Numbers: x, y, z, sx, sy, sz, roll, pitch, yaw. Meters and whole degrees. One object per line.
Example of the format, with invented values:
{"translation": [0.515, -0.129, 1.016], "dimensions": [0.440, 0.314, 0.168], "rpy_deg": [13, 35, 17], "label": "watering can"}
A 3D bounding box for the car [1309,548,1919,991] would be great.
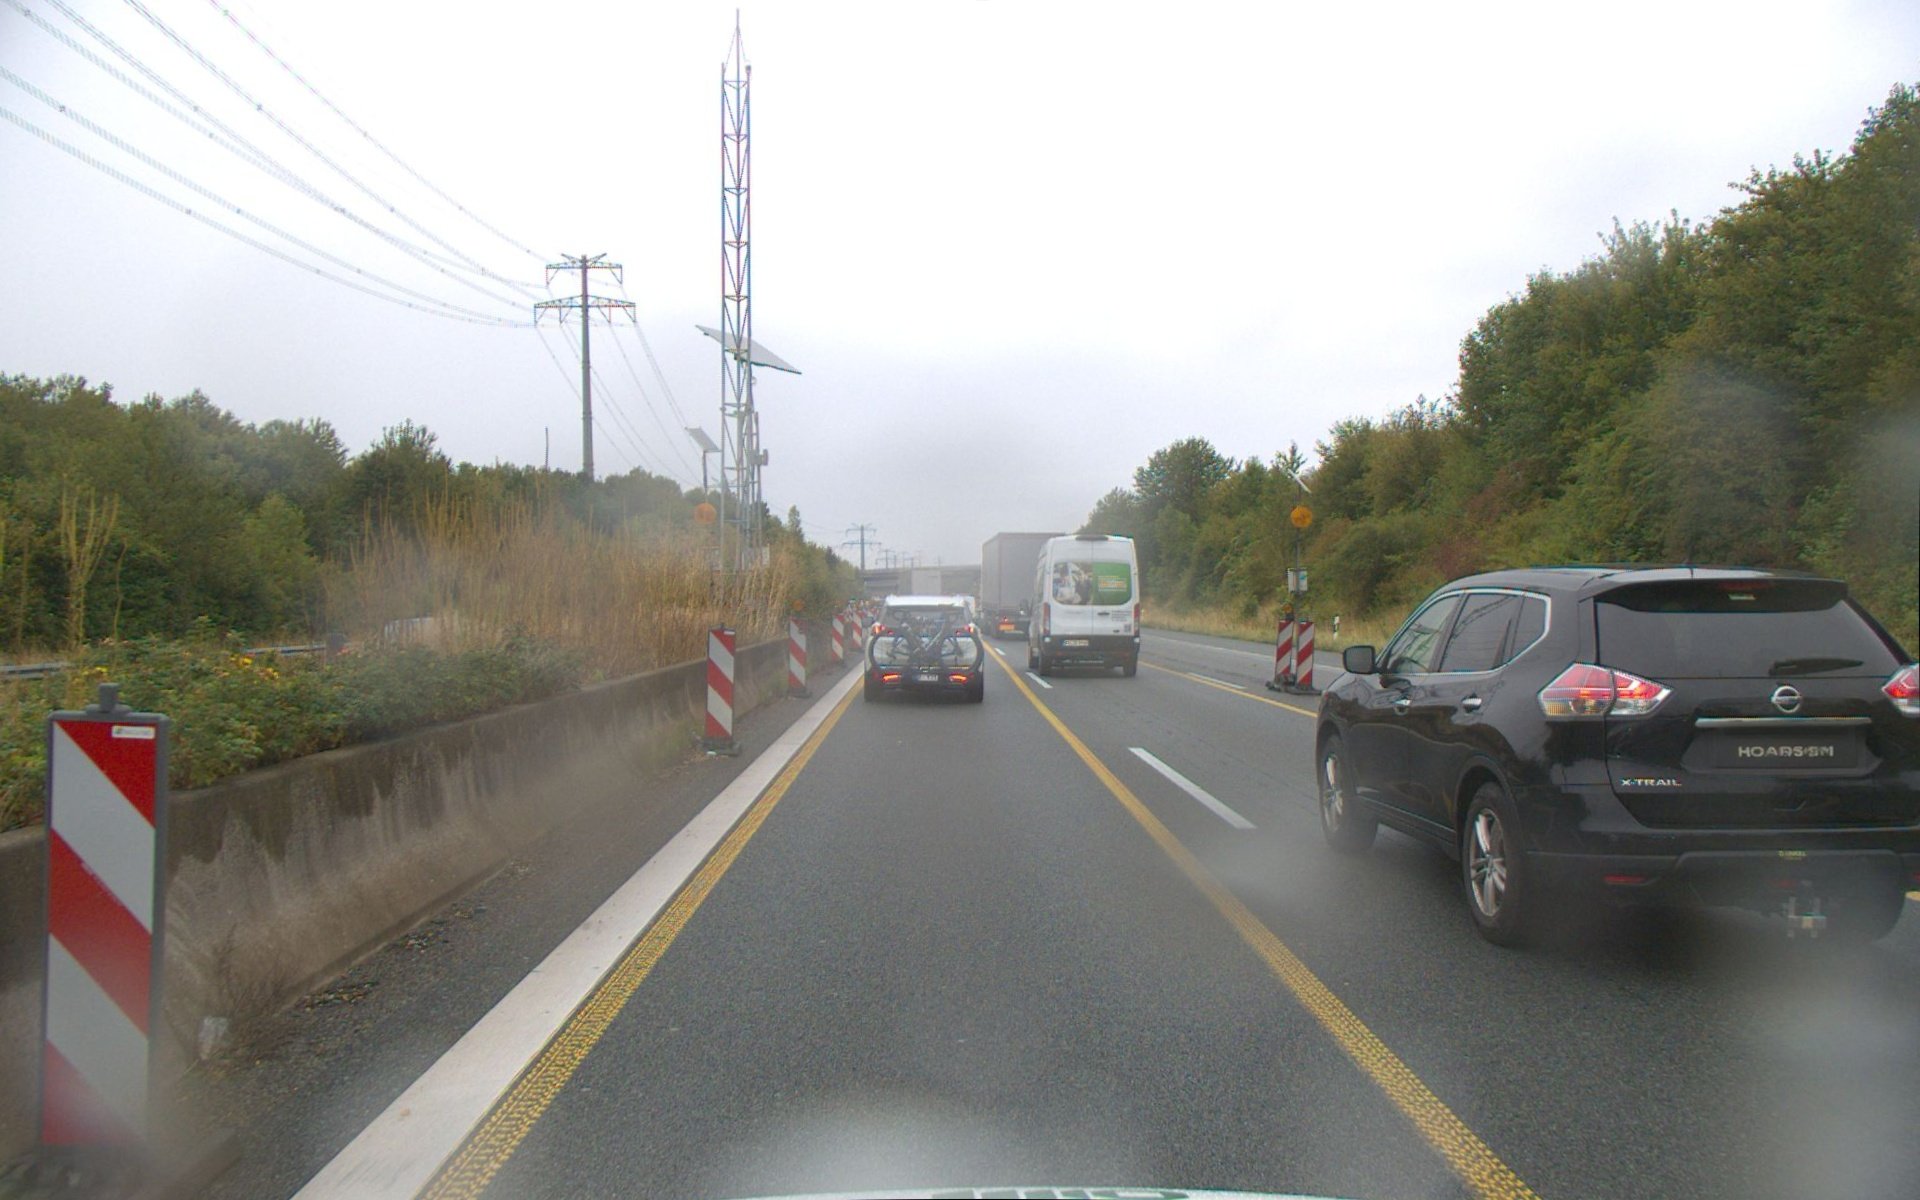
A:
{"translation": [3.153, 0.642, 8.484], "dimensions": [1.651, 1.688, 4.278], "rpy_deg": [0, 0, -3], "label": "car"}

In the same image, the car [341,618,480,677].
{"translation": [-12.000, 1.008, 36.362], "dimensions": [1.697, 1.206, 4.159], "rpy_deg": [1, 0, -1], "label": "car"}

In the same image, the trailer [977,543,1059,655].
{"translation": [2.245, -0.046, 68.819], "dimensions": [2.651, 4.219, 13.728], "rpy_deg": [0, 0, -1], "label": "trailer"}

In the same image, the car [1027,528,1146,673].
{"translation": [2.592, 0.001, 35.262], "dimensions": [1.953, 2.831, 5.754], "rpy_deg": [0, 0, -1], "label": "car"}

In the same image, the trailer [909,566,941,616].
{"translation": [-3.032, -0.752, 142.226], "dimensions": [2.638, 4.148, 13.629], "rpy_deg": [0, 0, -1], "label": "trailer"}

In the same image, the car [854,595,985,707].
{"translation": [-0.619, 0.703, 25.385], "dimensions": [1.813, 1.557, 4.767], "rpy_deg": [0, 0, -1], "label": "car"}

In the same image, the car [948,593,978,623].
{"translation": [0.163, 0.475, 105.176], "dimensions": [1.792, 1.871, 4.654], "rpy_deg": [0, 0, -1], "label": "car"}

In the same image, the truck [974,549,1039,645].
{"translation": [2.082, -0.132, 75.780], "dimensions": [2.651, 4.211, 5.689], "rpy_deg": [0, 0, -1], "label": "truck"}
